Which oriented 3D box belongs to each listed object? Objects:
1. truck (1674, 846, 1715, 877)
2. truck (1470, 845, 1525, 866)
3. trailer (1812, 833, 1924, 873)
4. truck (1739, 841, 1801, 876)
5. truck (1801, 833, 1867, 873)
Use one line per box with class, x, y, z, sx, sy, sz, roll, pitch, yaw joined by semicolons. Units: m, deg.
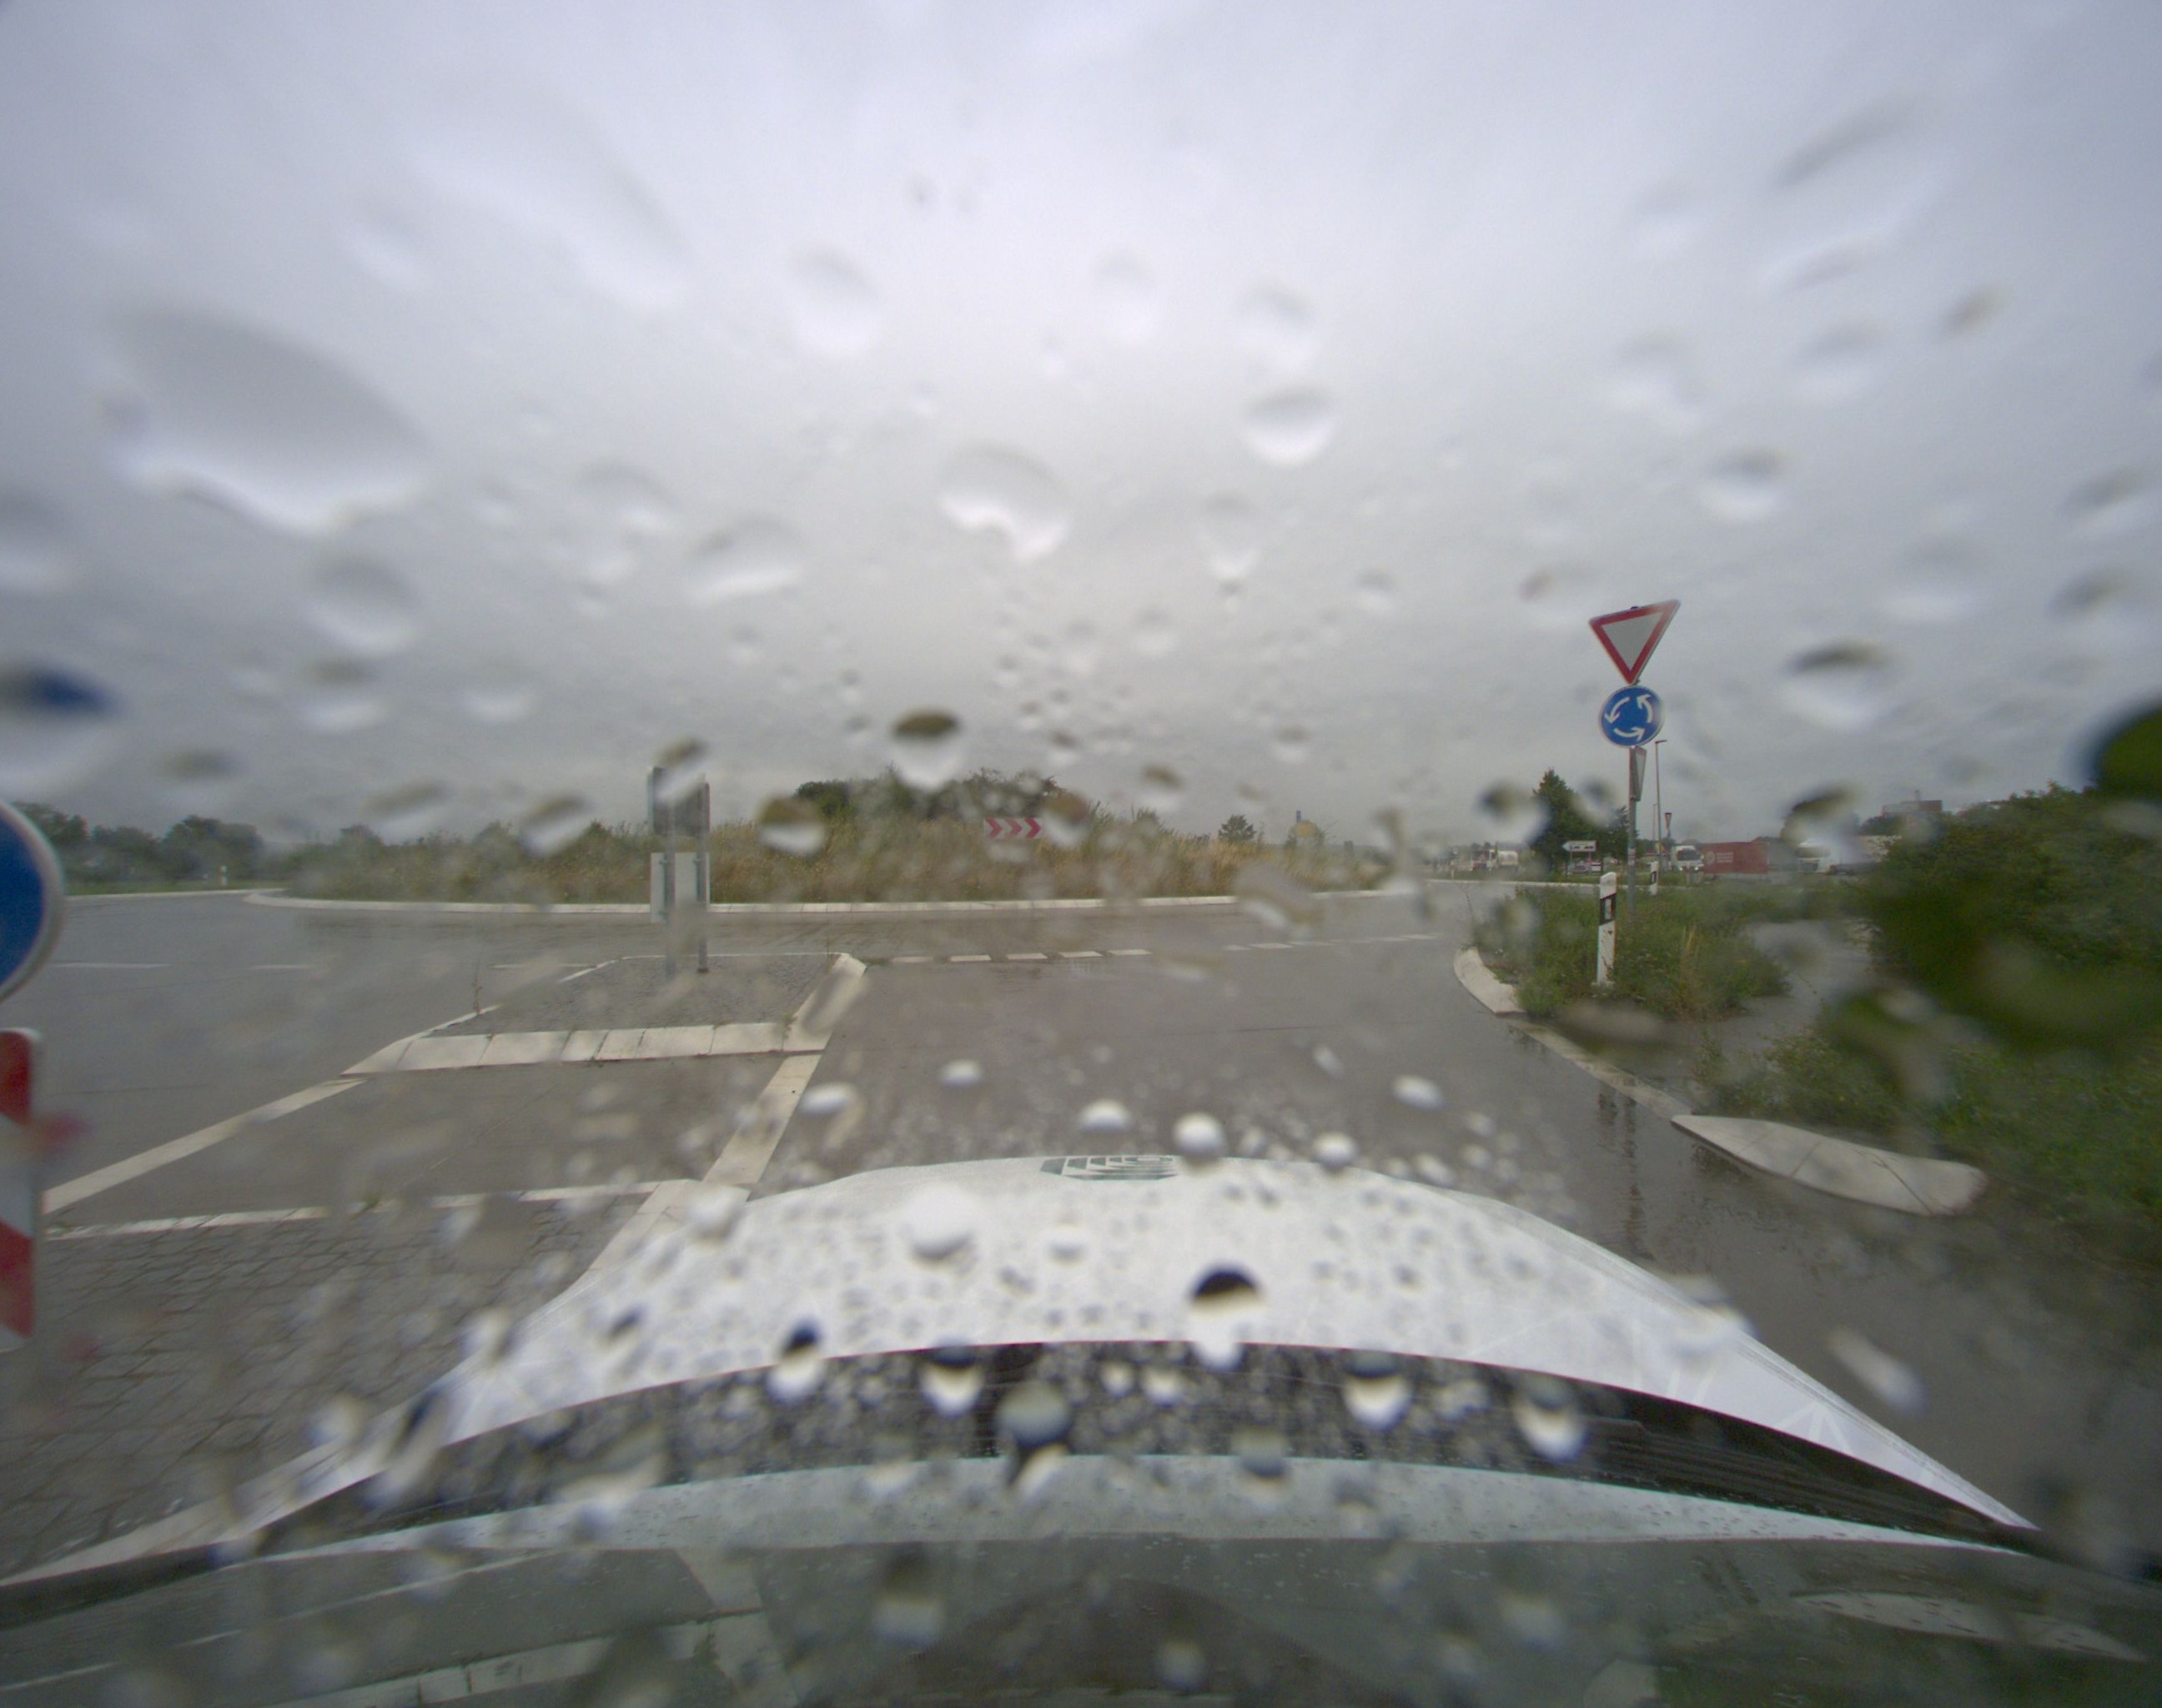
truck;87.685;1.122;116.571;2.873;4.290;8.863;-1;-2;25
truck;47.392;0.165;92.619;8.455;2.223;2.489;-1;-2;-41
trailer;83.112;-0.072;85.921;13.140;3.948;3.261;0;-2;-21
truck;96.603;0.672;114.108;11.235;4.736;3.321;0;-2;-33
truck;77.393;-0.098;83.706;4.462;3.948;3.261;0;-2;-21
